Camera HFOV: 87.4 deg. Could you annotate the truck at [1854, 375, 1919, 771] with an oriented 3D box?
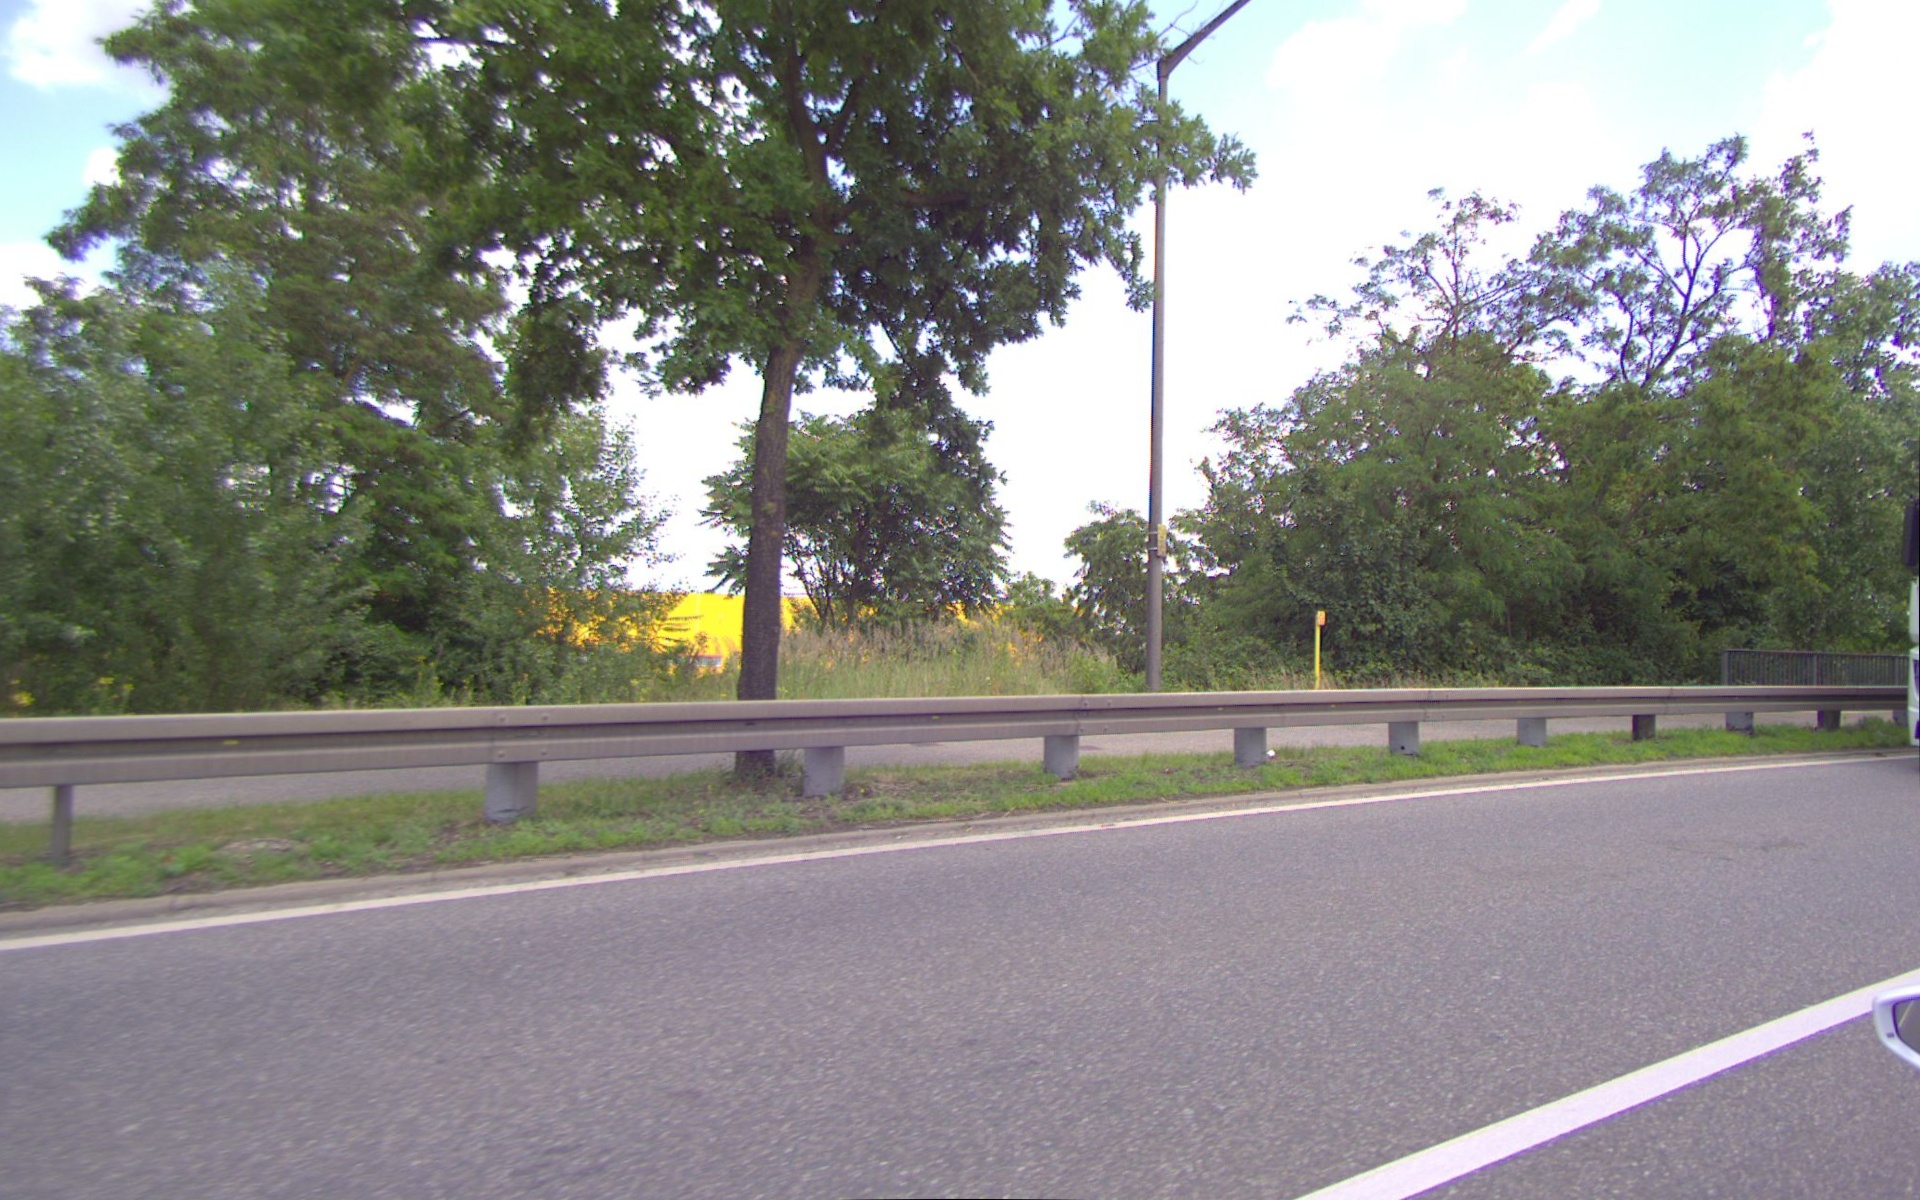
[{"bbox_3d":[13.019,-0.203,10.895,5.571,4.189,2.756,2,0,-22],"label":"truck"}]
